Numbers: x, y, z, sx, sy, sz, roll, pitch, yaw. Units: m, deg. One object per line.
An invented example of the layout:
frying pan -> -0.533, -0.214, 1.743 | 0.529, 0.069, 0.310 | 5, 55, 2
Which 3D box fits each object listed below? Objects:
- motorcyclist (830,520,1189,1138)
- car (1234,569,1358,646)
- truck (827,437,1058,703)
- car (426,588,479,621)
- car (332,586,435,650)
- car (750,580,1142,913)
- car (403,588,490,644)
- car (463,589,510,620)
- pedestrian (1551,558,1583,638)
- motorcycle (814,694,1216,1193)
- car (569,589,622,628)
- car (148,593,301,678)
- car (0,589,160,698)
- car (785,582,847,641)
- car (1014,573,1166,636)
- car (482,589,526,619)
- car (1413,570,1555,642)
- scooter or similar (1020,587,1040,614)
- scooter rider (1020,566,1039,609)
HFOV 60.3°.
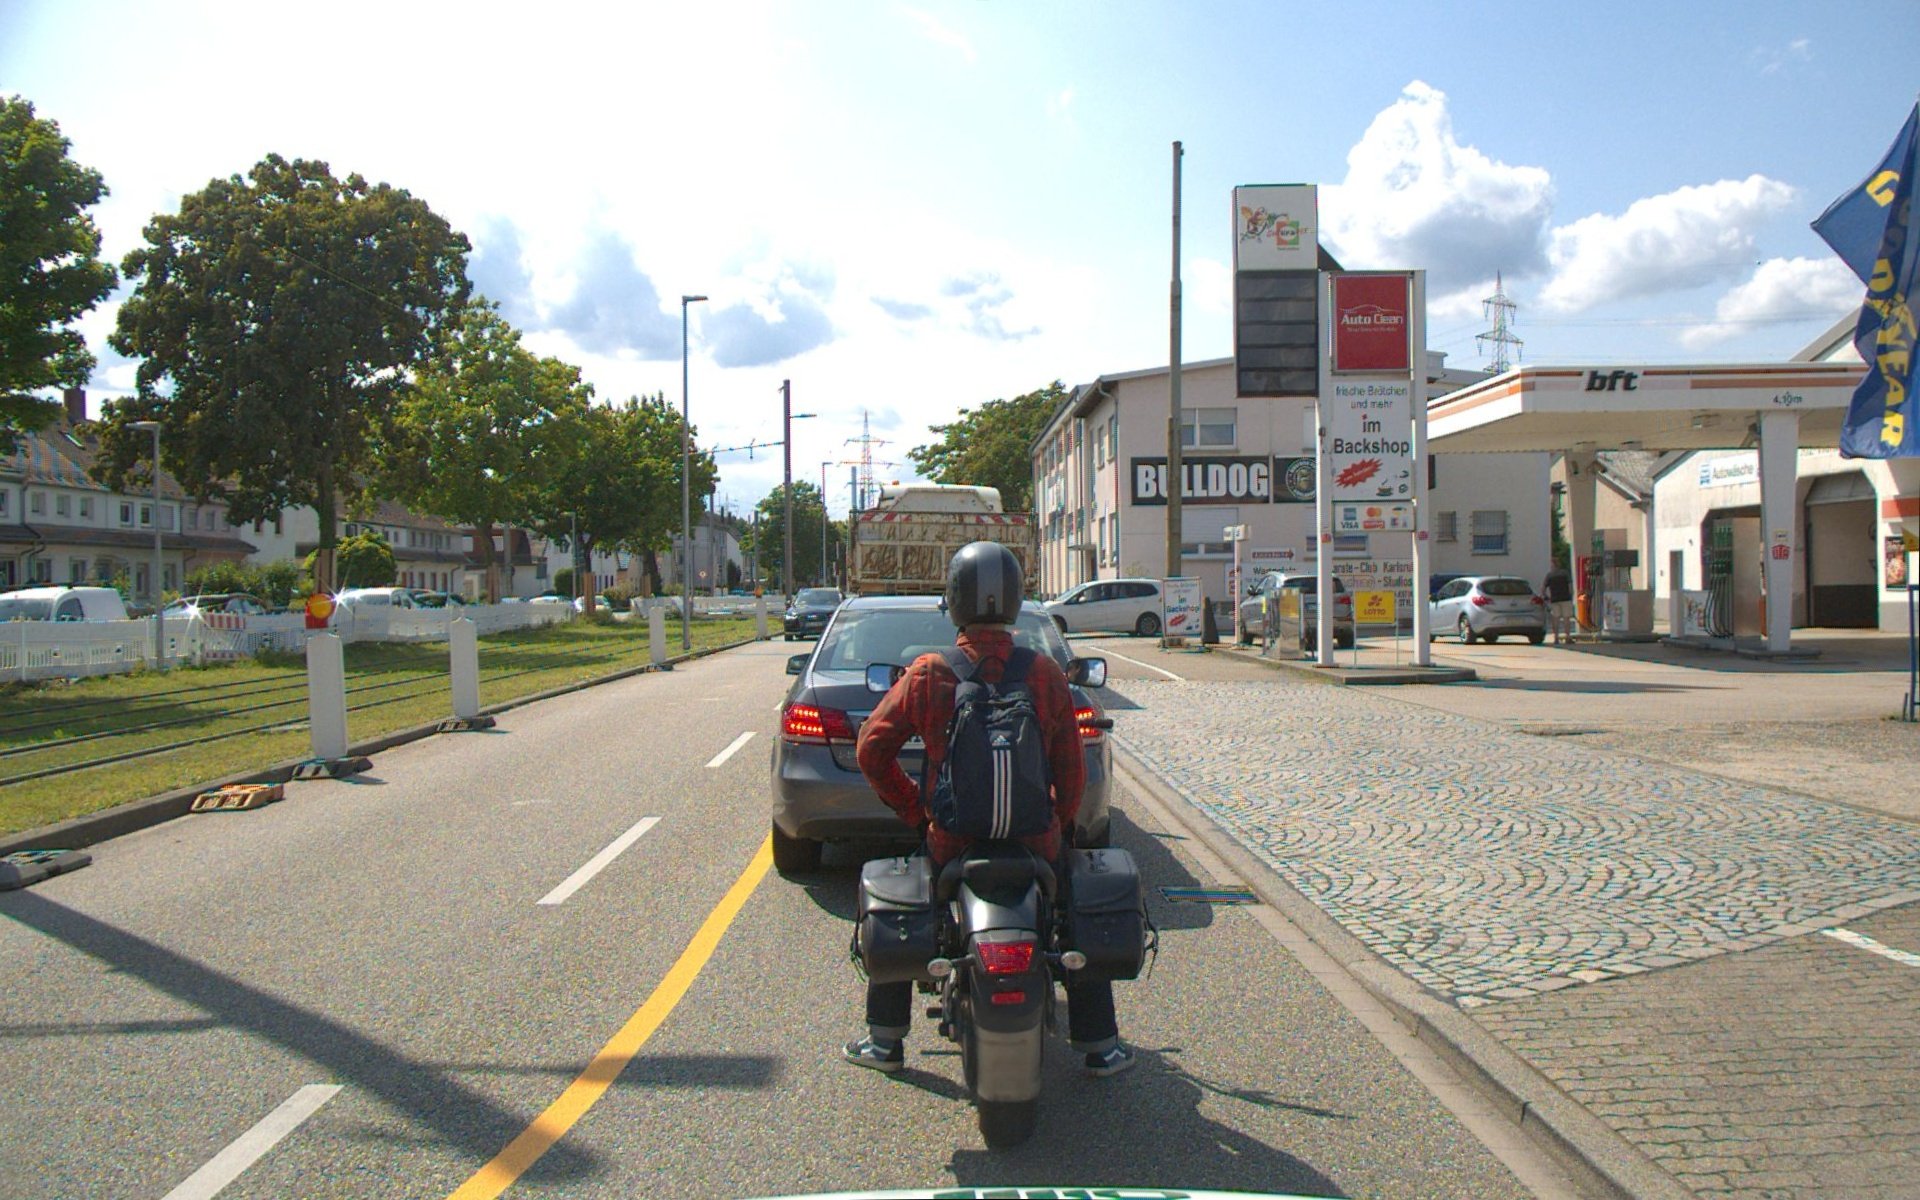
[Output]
motorcyclist -> 0.127, 0.616, 5.075 | 0.950, 1.662, 1.214 | 1, 0, -1
car -> 7.399, 0.142, 36.754 | 1.795, 1.562, 4.008 | -1, 0, -2
truck -> -0.358, -0.424, 25.468 | 2.910, 3.362, 8.404 | -1, 0, -2
car -> -28.185, 0.237, 91.933 | 1.664, 1.770, 4.061 | -1, 0, -1
car -> -16.895, 0.488, 48.614 | 1.664, 1.770, 3.860 | -1, 0, -1
car -> -0.126, 0.662, 9.702 | 1.795, 1.505, 4.008 | -1, 0, -2
car -> -17.022, 0.492, 54.979 | 1.664, 1.770, 3.860 | -1, 0, -1
car -> -28.066, 0.252, 98.144 | 1.664, 1.770, 4.061 | -1, 0, -1
pedestrian -> 13.132, -0.047, 35.791 | 0.621, 1.712, 0.622 | -1, 0, 20
motorcycle -> 0.116, 0.898, 5.193 | 0.956, 1.031, 2.431 | 1, 0, -1
car -> -17.433, 0.402, 79.282 | 1.664, 1.770, 3.860 | -1, 0, -1
car -> -16.675, 0.752, 37.716 | 1.664, 1.770, 4.053 | -1, 0, -1
car -> -16.420, 0.739, 30.292 | 1.664, 1.849, 3.860 | -1, 0, -1
car -> -4.236, 0.307, 48.961 | 1.647, 1.652, 4.116 | -1, 0, -3
car -> 3.667, 0.116, 47.083 | 4.029, 1.652, 1.682 | -1, 0, -9
car -> -28.669, 0.223, 104.146 | 1.664, 1.770, 4.061 | -1, 0, -1
car -> 11.770, 0.102, 37.419 | 1.795, 1.505, 4.008 | -1, 0, -2
scooter or similar -> 3.039, 0.010, 71.815 | 0.779, 1.165, 1.519 | -1, 0, -1
scooter rider -> 3.027, -0.527, 71.828 | 0.779, 1.850, 0.508 | -1, 0, -1
